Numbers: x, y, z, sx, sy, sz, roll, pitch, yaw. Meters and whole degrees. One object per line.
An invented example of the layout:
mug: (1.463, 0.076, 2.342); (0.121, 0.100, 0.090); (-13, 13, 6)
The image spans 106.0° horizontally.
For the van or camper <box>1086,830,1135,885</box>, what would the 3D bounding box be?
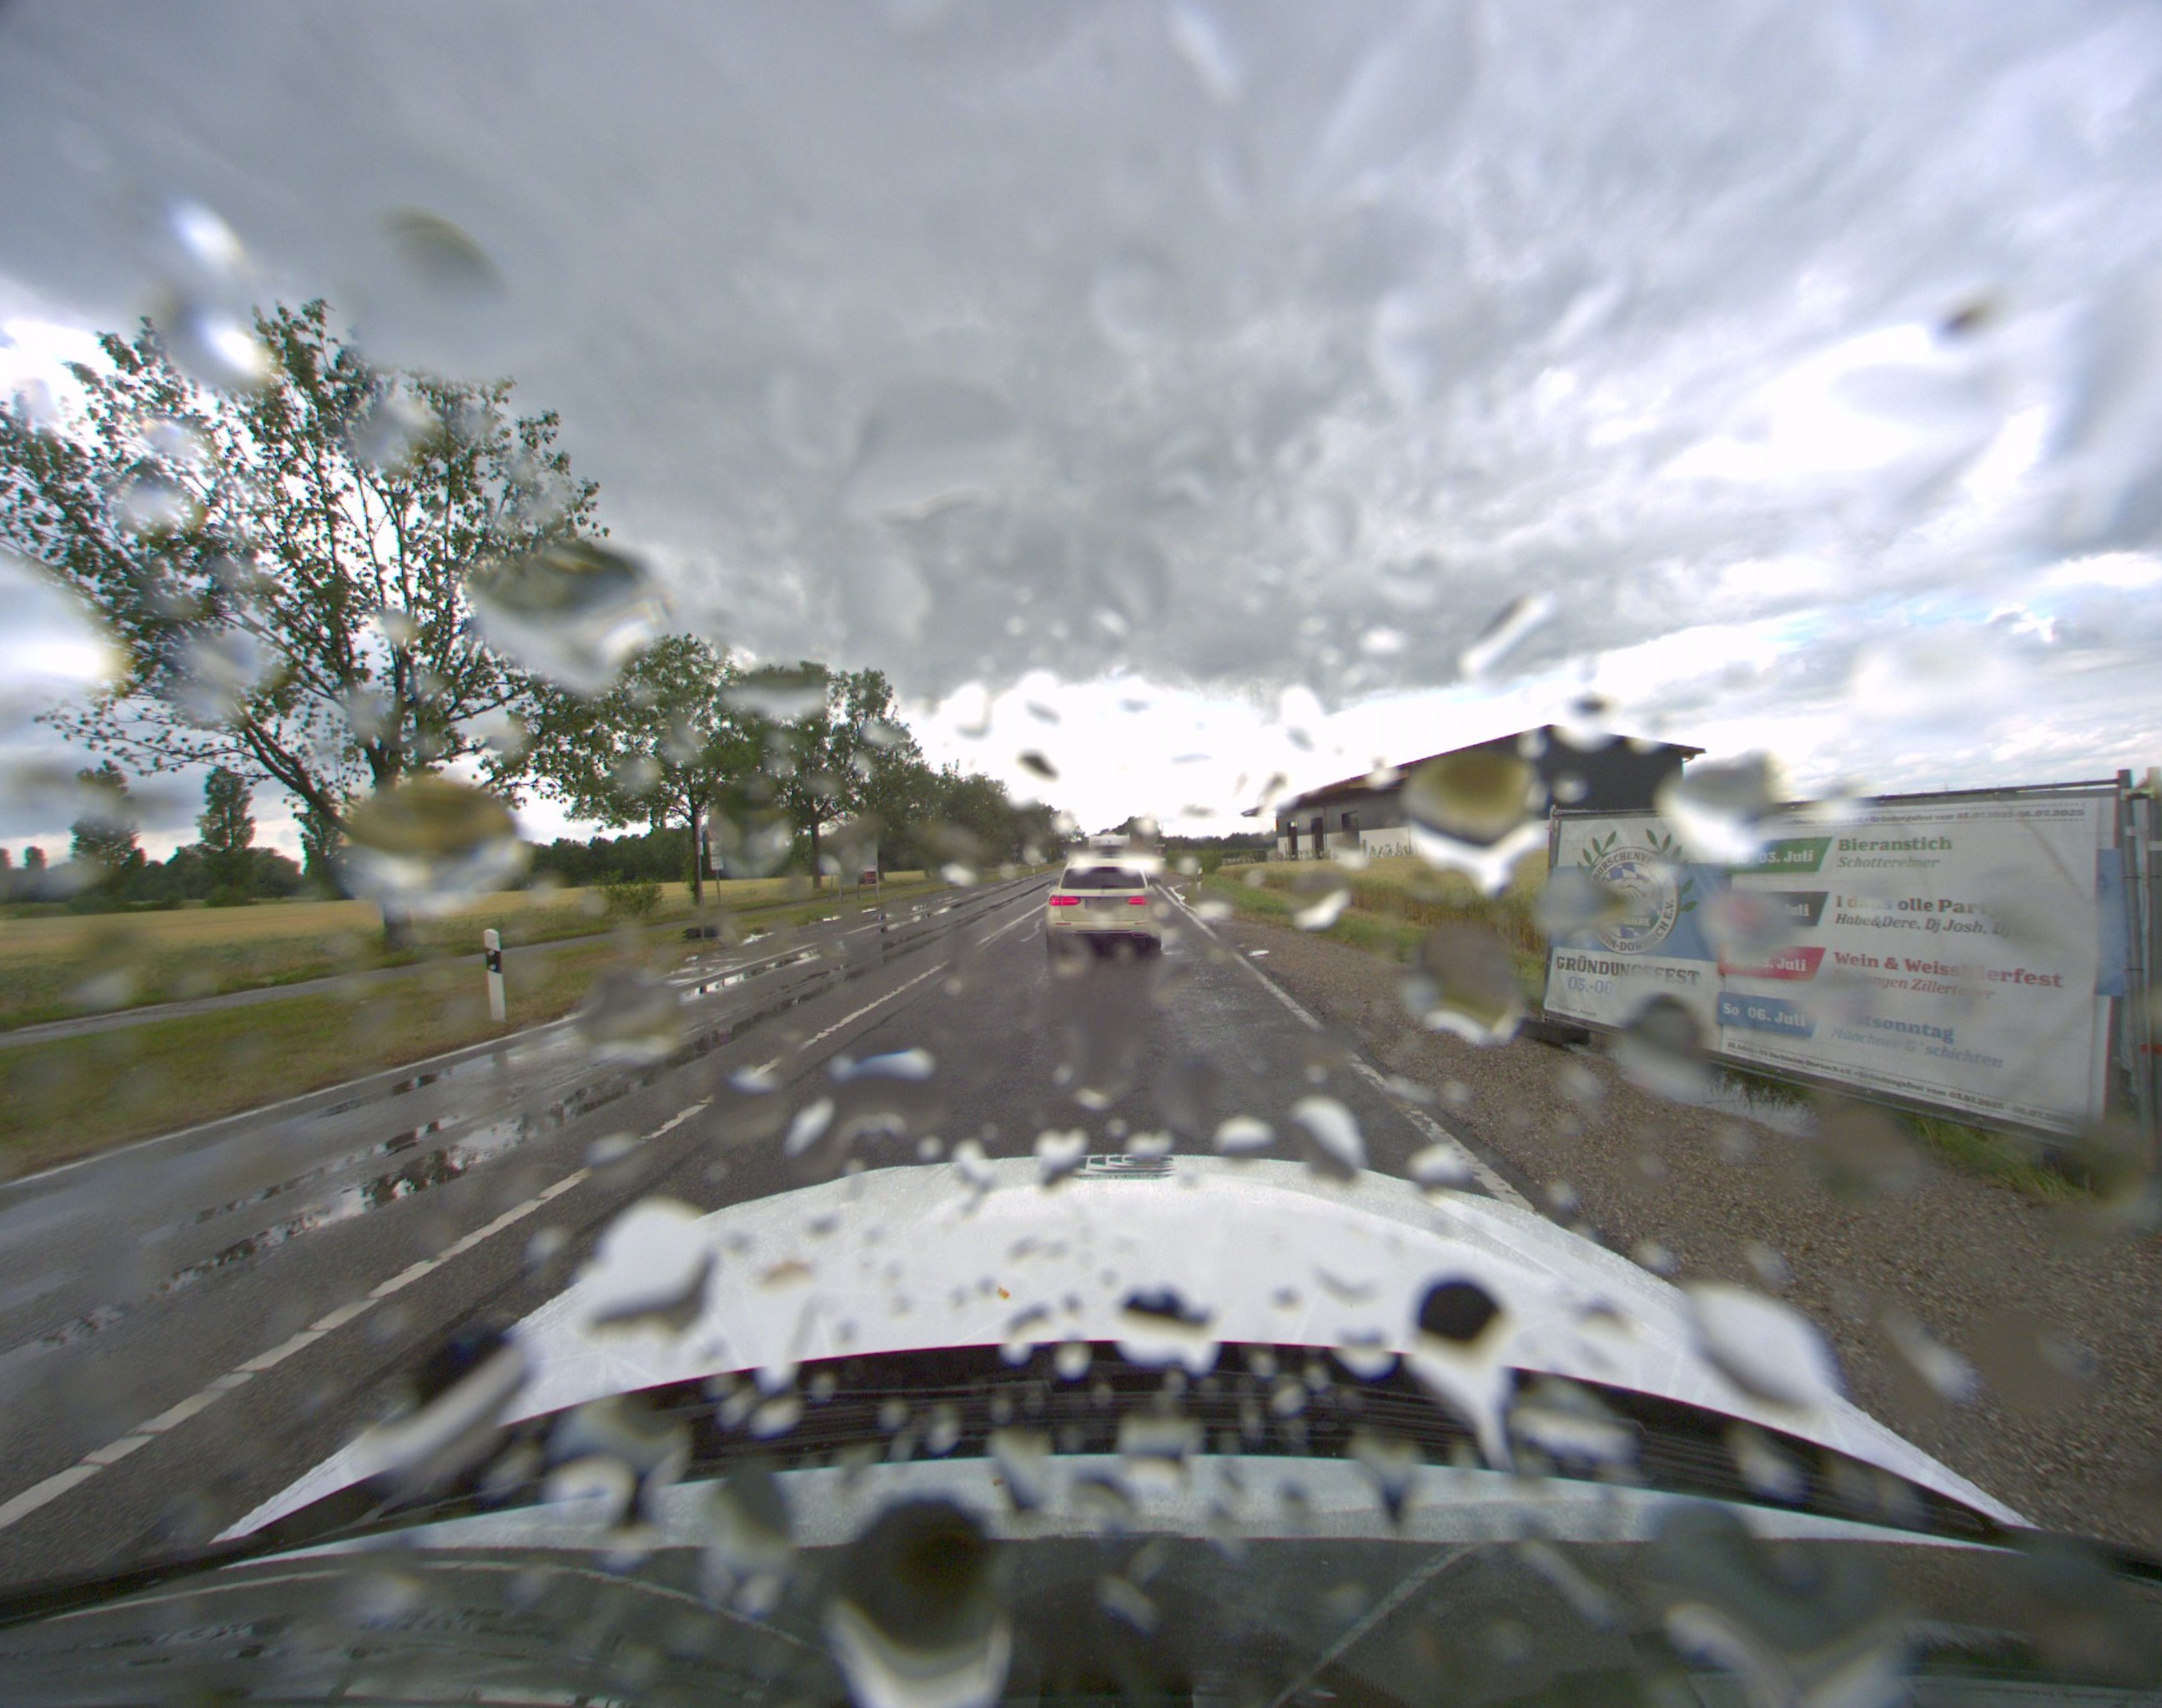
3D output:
van or camper: (1.782, 0.199, 46.959); (2.486, 2.831, 5.939); (-3, 0, 3)

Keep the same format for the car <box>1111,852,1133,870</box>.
car: (3.840, 0.614, 75.331); (1.886, 1.590, 3.932); (-2, 0, 4)

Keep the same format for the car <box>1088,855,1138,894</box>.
car: (1.281, 0.791, 32.961); (1.887, 1.429, 3.929); (-2, 0, 2)

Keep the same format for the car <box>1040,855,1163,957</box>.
car: (0.405, 0.773, 14.047); (1.790, 1.464, 4.034); (-2, 0, 3)
